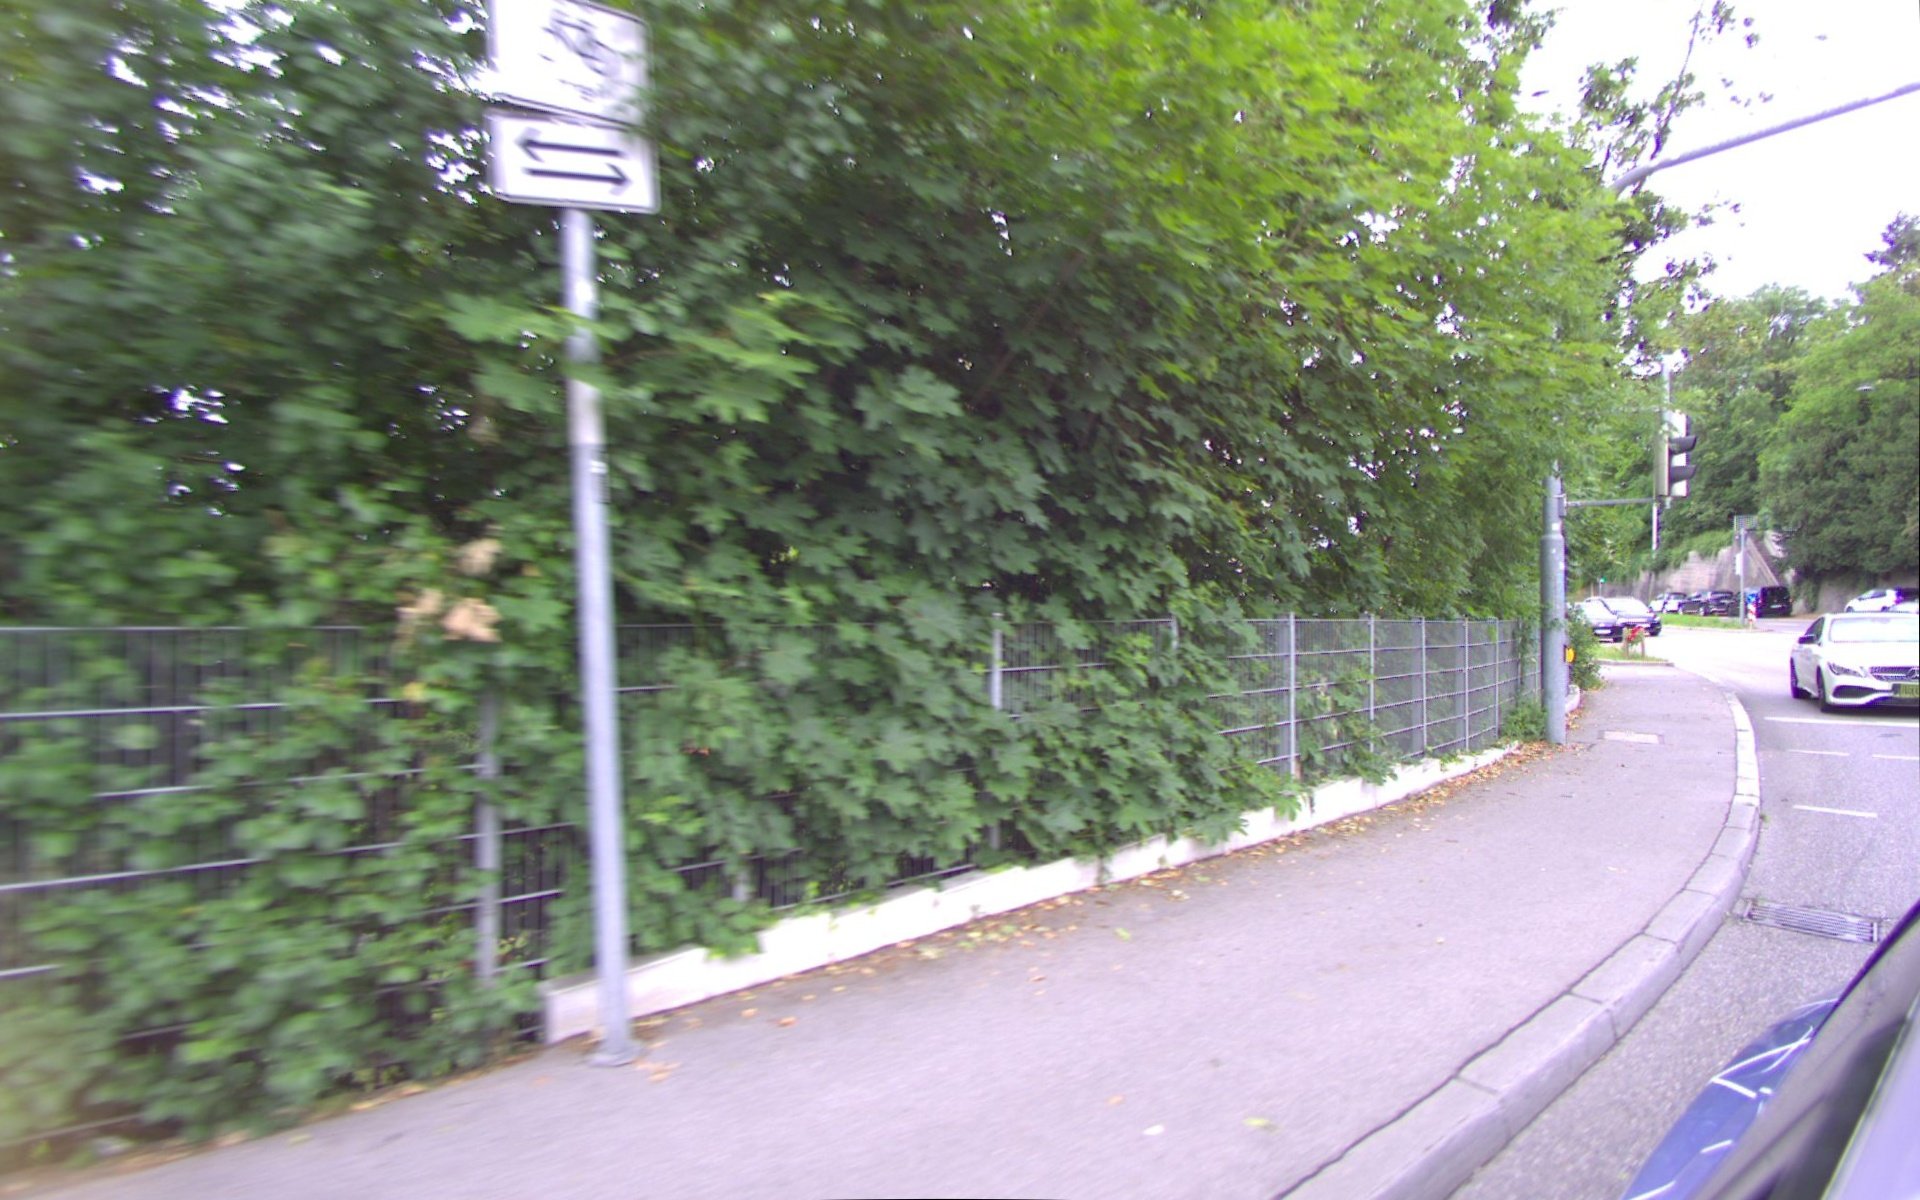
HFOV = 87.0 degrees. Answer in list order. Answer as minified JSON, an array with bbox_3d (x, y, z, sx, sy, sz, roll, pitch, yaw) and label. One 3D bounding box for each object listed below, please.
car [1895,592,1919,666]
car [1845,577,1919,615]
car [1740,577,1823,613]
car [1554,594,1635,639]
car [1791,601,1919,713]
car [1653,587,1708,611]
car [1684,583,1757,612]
[{"bbox_3d":[20.317,0.566,19.959,1.902,1.500,4.349,-4,-2,32],"label":"car"},{"bbox_3d":[43.197,-0.174,46.626,1.758,1.650,4.154,-3,-1,12],"label":"car"},{"bbox_3d":[46.718,-0.237,57.674,1.759,1.866,4.468,-3,-1,13],"label":"car"},{"bbox_3d":[24.196,0.621,38.728,1.757,1.561,3.972,-3,-1,21],"label":"car"},{"bbox_3d":[13.736,0.765,14.930,1.805,1.417,3.952,-3,-1,34],"label":"car"},{"bbox_3d":[48.960,-0.047,68.860,1.757,1.518,3.088,-3,-1,10],"label":"car"},{"bbox_3d":[47.475,-0.169,63.274,1.947,1.678,4.511,-3,-1,14],"label":"car"}]
